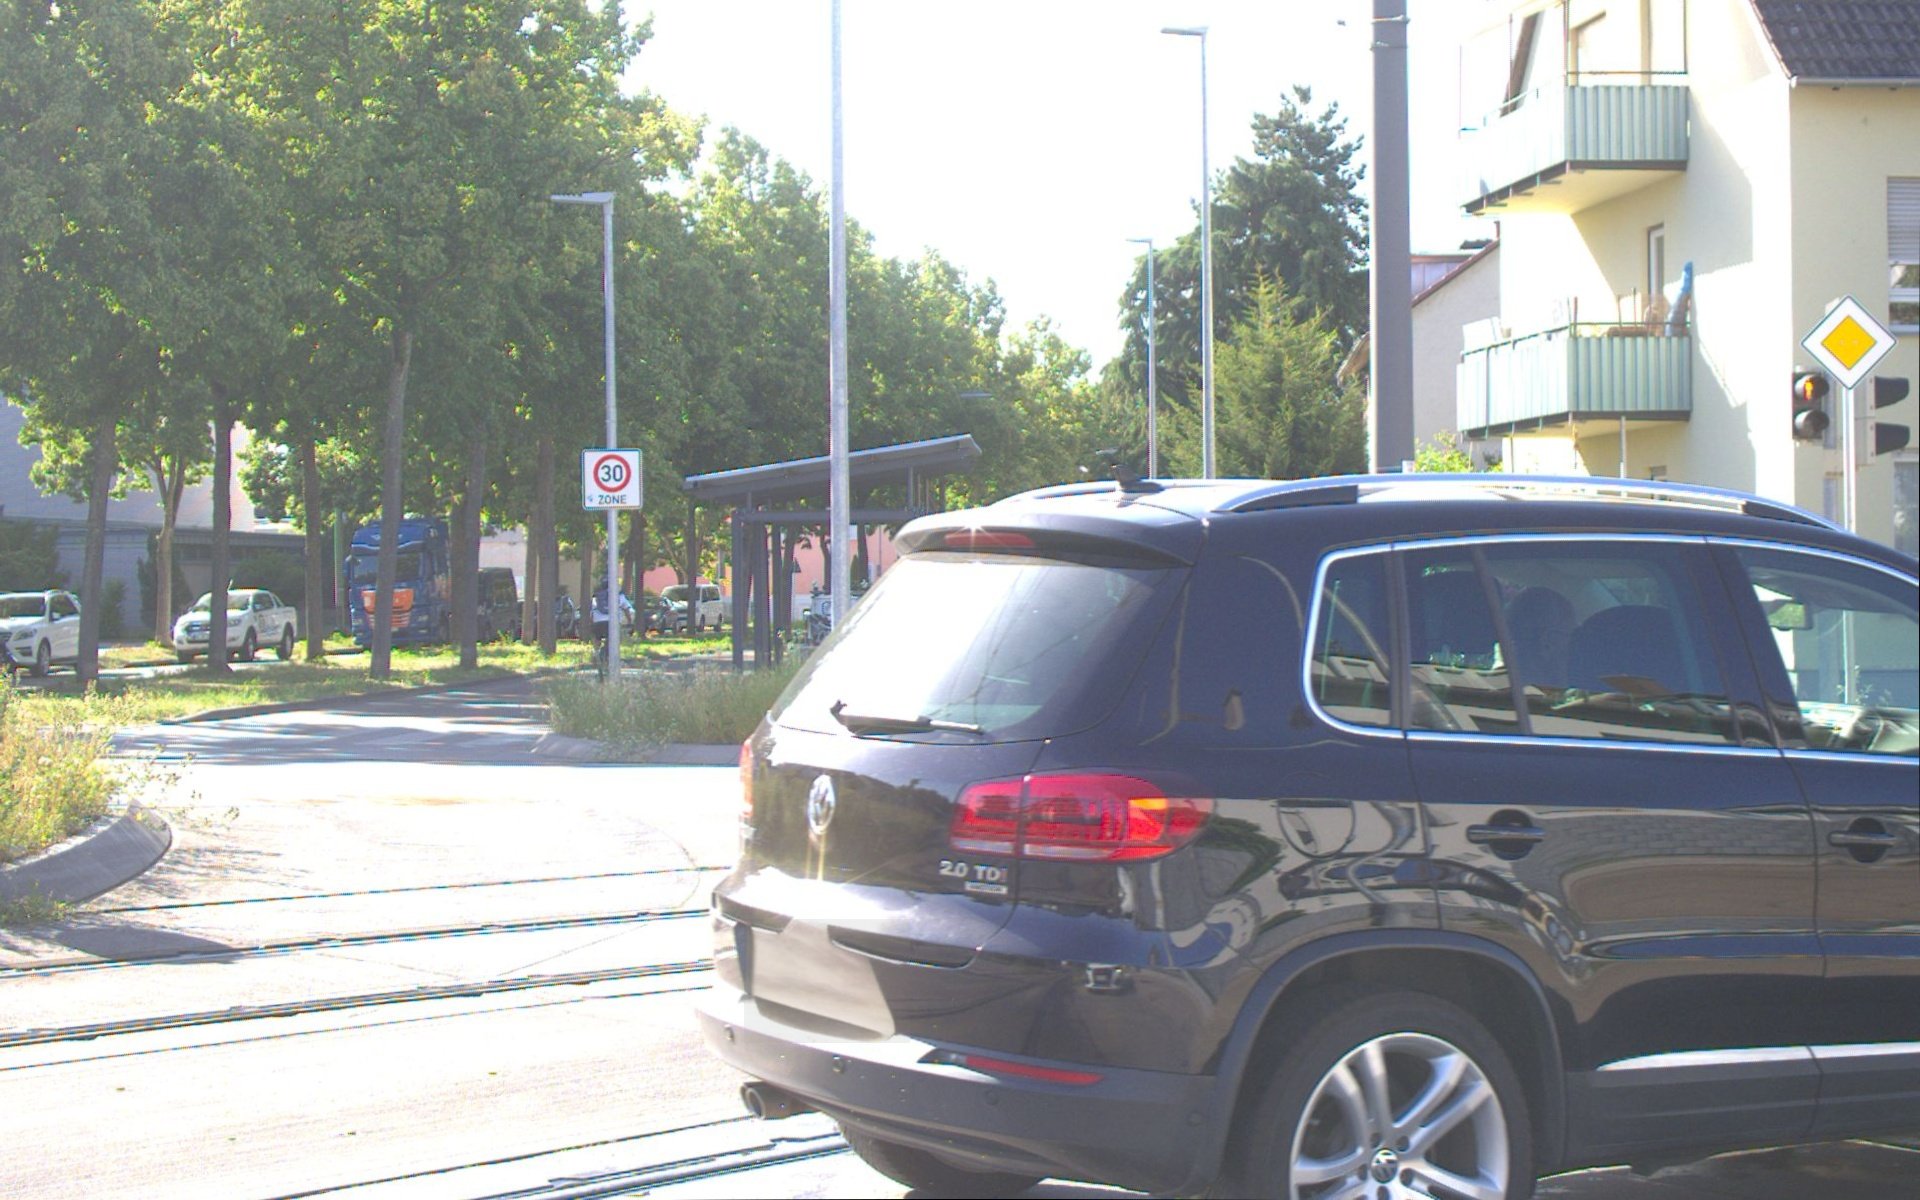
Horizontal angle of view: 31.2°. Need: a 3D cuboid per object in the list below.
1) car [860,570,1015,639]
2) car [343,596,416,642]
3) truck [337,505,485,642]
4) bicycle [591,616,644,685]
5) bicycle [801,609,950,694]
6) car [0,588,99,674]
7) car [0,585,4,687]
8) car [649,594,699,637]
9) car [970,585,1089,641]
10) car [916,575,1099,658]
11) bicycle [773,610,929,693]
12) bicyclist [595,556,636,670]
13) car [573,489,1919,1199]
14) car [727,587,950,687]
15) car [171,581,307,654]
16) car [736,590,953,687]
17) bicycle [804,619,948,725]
[{"bbox_3d":[-0.512,0.106,79.874,3.517,1.528,1.577,1,0,2],"label":"car"},{"bbox_3d":[-22.062,0.716,130.737,1.993,1.694,4.218,0,0,1],"label":"car"},{"bbox_3d":[-16.714,-0.815,105.197,3.069,3.979,8.008,1,1,1],"label":"truck"},{"bbox_3d":[-5.195,0.768,52.102,0.766,1.033,1.534,0,-1,-6],"label":"bicycle"},{"bbox_3d":[-1.073,0.645,43.466,1.840,1.024,0.689,1,0,-2],"label":"bicycle"},{"bbox_3d":[-19.349,0.607,71.029,1.993,1.694,4.218,1,0,1],"label":"car"},{"bbox_3d":[-15.778,0.540,50.831,1.831,1.575,4.440,1,0,3],"label":"car"},{"bbox_3d":[-11.510,0.615,138.535,1.647,1.643,3.569,1,0,1],"label":"car"},{"bbox_3d":[1.983,0.367,98.174,3.359,1.528,1.523,1,0,1],"label":"car"},{"bbox_3d":[0.949,0.315,67.452,3.517,1.528,1.577,1,0,2],"label":"car"},{"bbox_3d":[-1.404,0.663,44.362,1.973,1.024,0.696,1,0,-2],"label":"bicycle"},{"bbox_3d":[-5.255,0.197,52.461,0.603,1.708,0.544,-1,-4,-6],"label":"bicyclist"},{"bbox_3d":[1.439,0.588,7.834,4.243,1.665,1.818,-1,2,-30],"label":"car"},{"bbox_3d":[-1.955,0.593,56.008,3.517,1.528,1.577,1,0,2],"label":"car"},{"bbox_3d":[-18.324,0.419,87.558,1.994,1.767,5.059,1,0,5],"label":"car"},{"bbox_3d":[-1.914,0.633,57.758,3.517,1.528,1.577,1,0,2],"label":"car"},{"bbox_3d":[-0.998,0.844,40.670,1.665,1.203,0.689,1,0,-2],"label":"bicycle"}]
